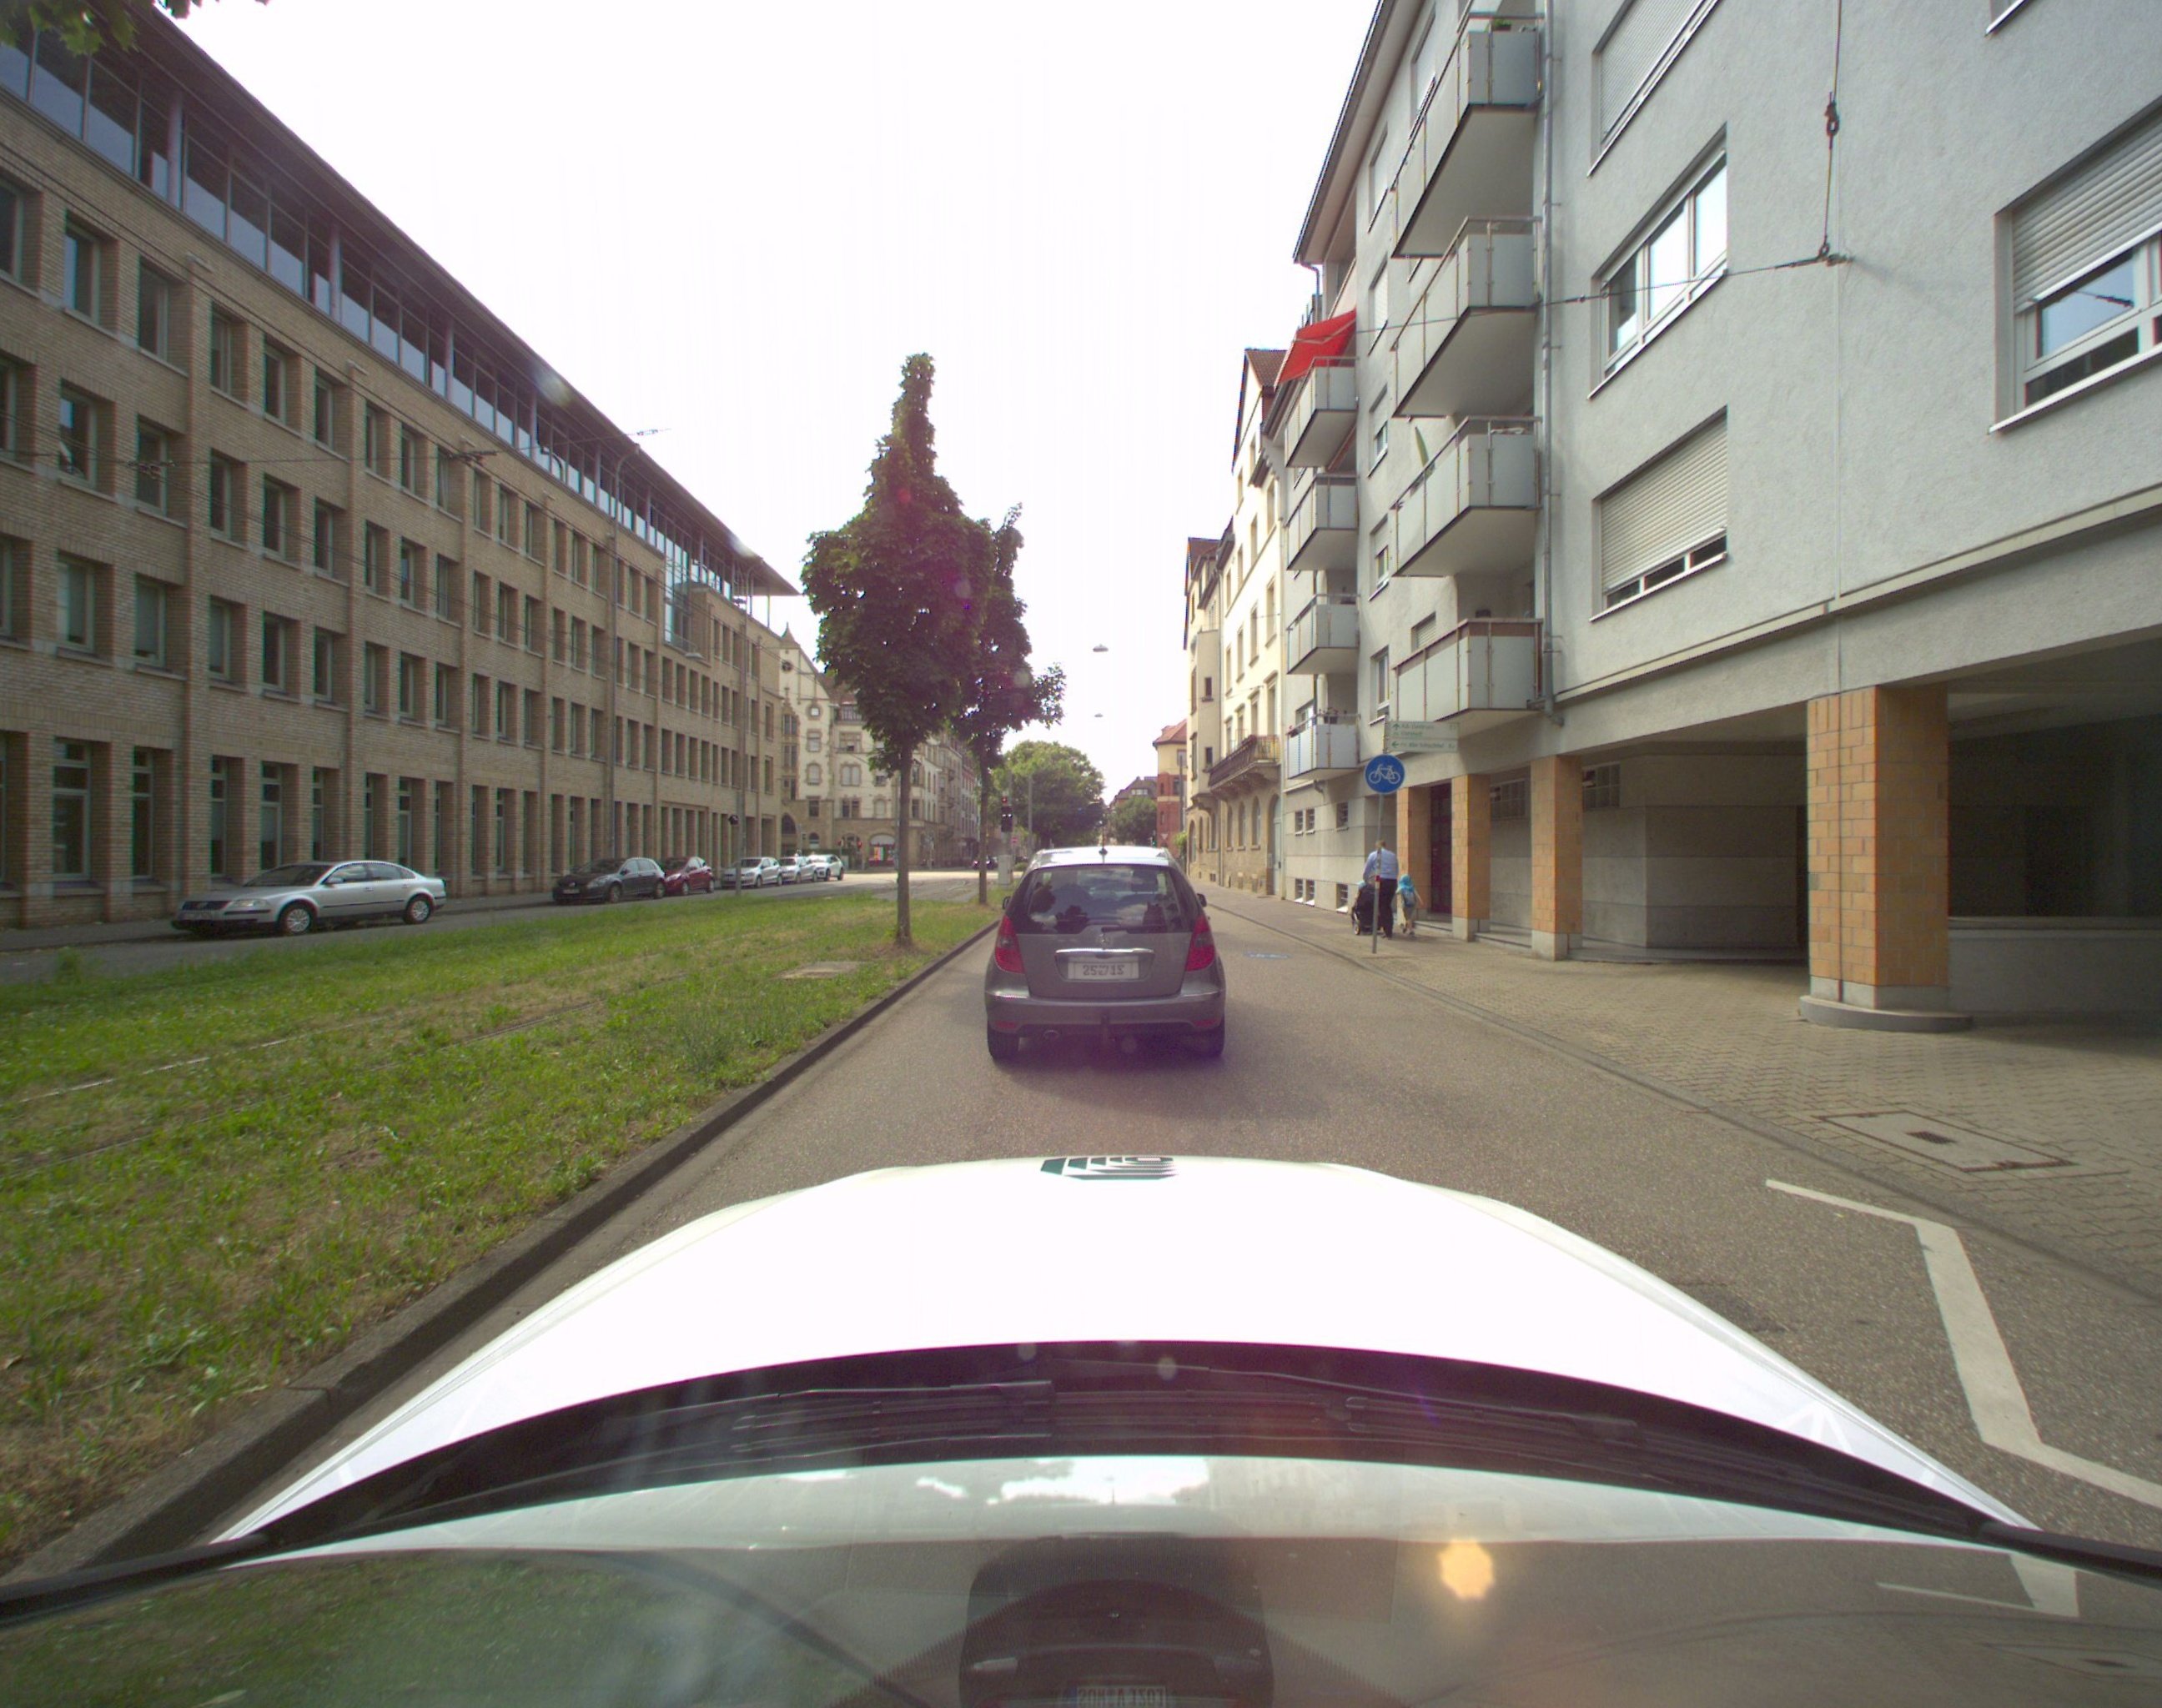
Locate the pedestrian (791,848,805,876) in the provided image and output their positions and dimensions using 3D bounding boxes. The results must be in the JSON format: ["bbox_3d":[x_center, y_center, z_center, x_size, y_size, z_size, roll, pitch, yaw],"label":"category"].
[{"bbox_3d":[-18.337,0.542,52.802,0.763,1.795,0.952,0,-1,-24],"label":"pedestrian"}]

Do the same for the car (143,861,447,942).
[{"bbox_3d":[-15.523,0.856,16.520,1.708,1.396,4.486,0,0,2],"label":"car"}]

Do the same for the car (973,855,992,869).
[{"bbox_3d":[-11.621,0.956,96.154,1.990,1.618,3.994,-1,0,-4],"label":"car"}]

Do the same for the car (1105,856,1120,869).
[{"bbox_3d":[3.983,1.083,104.064,1.744,1.633,3.504,0,0,5],"label":"car"}]

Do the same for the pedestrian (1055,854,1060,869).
[{"bbox_3d":[-2.748,0.820,94.172,0.492,1.725,0.652,0,-1,-7],"label":"pedestrian"}]

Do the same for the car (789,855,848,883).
[{"bbox_3d":[-15.224,0.841,47.534,1.925,1.535,4.260,0,0,2],"label":"car"}]

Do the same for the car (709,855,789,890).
[{"bbox_3d":[-15.273,0.835,37.717,1.844,1.530,4.212,0,0,2],"label":"car"}]

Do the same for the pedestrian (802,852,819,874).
[{"bbox_3d":[-21.590,0.693,65.006,1.029,1.722,0.767,1,-1,-43],"label":"pedestrian"}]

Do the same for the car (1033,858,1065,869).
[{"bbox_3d":[-3.922,1.138,98.857,1.984,1.339,3.954,0,0,-38],"label":"car"}]

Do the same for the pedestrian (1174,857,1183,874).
[{"bbox_3d":[9.472,1.097,79.213,0.865,1.656,0.737,0,0,5],"label":"pedestrian"}]

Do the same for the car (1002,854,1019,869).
[{"bbox_3d":[-8.445,0.933,97.617,1.990,1.728,3.994,0,0,-4],"label":"car"}]

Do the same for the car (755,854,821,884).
[{"bbox_3d":[-15.361,0.763,42.954,1.925,1.530,4.016,0,0,2],"label":"car"}]

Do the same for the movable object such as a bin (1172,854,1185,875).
[{"bbox_3d":[7.163,0.756,59.633,0.714,1.472,0.980,-1,-1,-8],"label":"movable object such as a bin"}]

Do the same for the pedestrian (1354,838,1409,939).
[{"bbox_3d":[5.410,0.605,14.696,0.618,1.738,0.877,-2,0,2],"label":"pedestrian"}]

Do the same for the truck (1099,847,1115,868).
[{"bbox_3d":[3.718,0.459,117.014,2.113,2.970,4.005,-1,0,5],"label":"truck"}]

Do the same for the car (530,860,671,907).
[{"bbox_3d":[-15.401,0.891,26.423,1.925,1.396,4.241,0,0,2],"label":"car"}]

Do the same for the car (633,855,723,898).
[{"bbox_3d":[-15.360,0.822,31.238,1.577,1.530,3.551,0,0,2],"label":"car"}]

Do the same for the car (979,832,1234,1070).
[{"bbox_3d":[0.229,0.671,7.380,1.716,1.605,3.678,-1,0,2],"label":"car"}]

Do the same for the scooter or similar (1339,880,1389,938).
[{"bbox_3d":[5.342,1.017,15.398,0.590,1.002,0.906,-4,0,2],"label":"scooter or similar"}]

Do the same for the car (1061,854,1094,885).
[{"bbox_3d":[-0.160,0.857,46.792,1.716,1.706,3.678,-1,0,2],"label":"car"}]

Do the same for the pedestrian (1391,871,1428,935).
[{"bbox_3d":[6.020,0.894,14.936,0.454,1.135,0.494,-2,0,1],"label":"pedestrian"}]
